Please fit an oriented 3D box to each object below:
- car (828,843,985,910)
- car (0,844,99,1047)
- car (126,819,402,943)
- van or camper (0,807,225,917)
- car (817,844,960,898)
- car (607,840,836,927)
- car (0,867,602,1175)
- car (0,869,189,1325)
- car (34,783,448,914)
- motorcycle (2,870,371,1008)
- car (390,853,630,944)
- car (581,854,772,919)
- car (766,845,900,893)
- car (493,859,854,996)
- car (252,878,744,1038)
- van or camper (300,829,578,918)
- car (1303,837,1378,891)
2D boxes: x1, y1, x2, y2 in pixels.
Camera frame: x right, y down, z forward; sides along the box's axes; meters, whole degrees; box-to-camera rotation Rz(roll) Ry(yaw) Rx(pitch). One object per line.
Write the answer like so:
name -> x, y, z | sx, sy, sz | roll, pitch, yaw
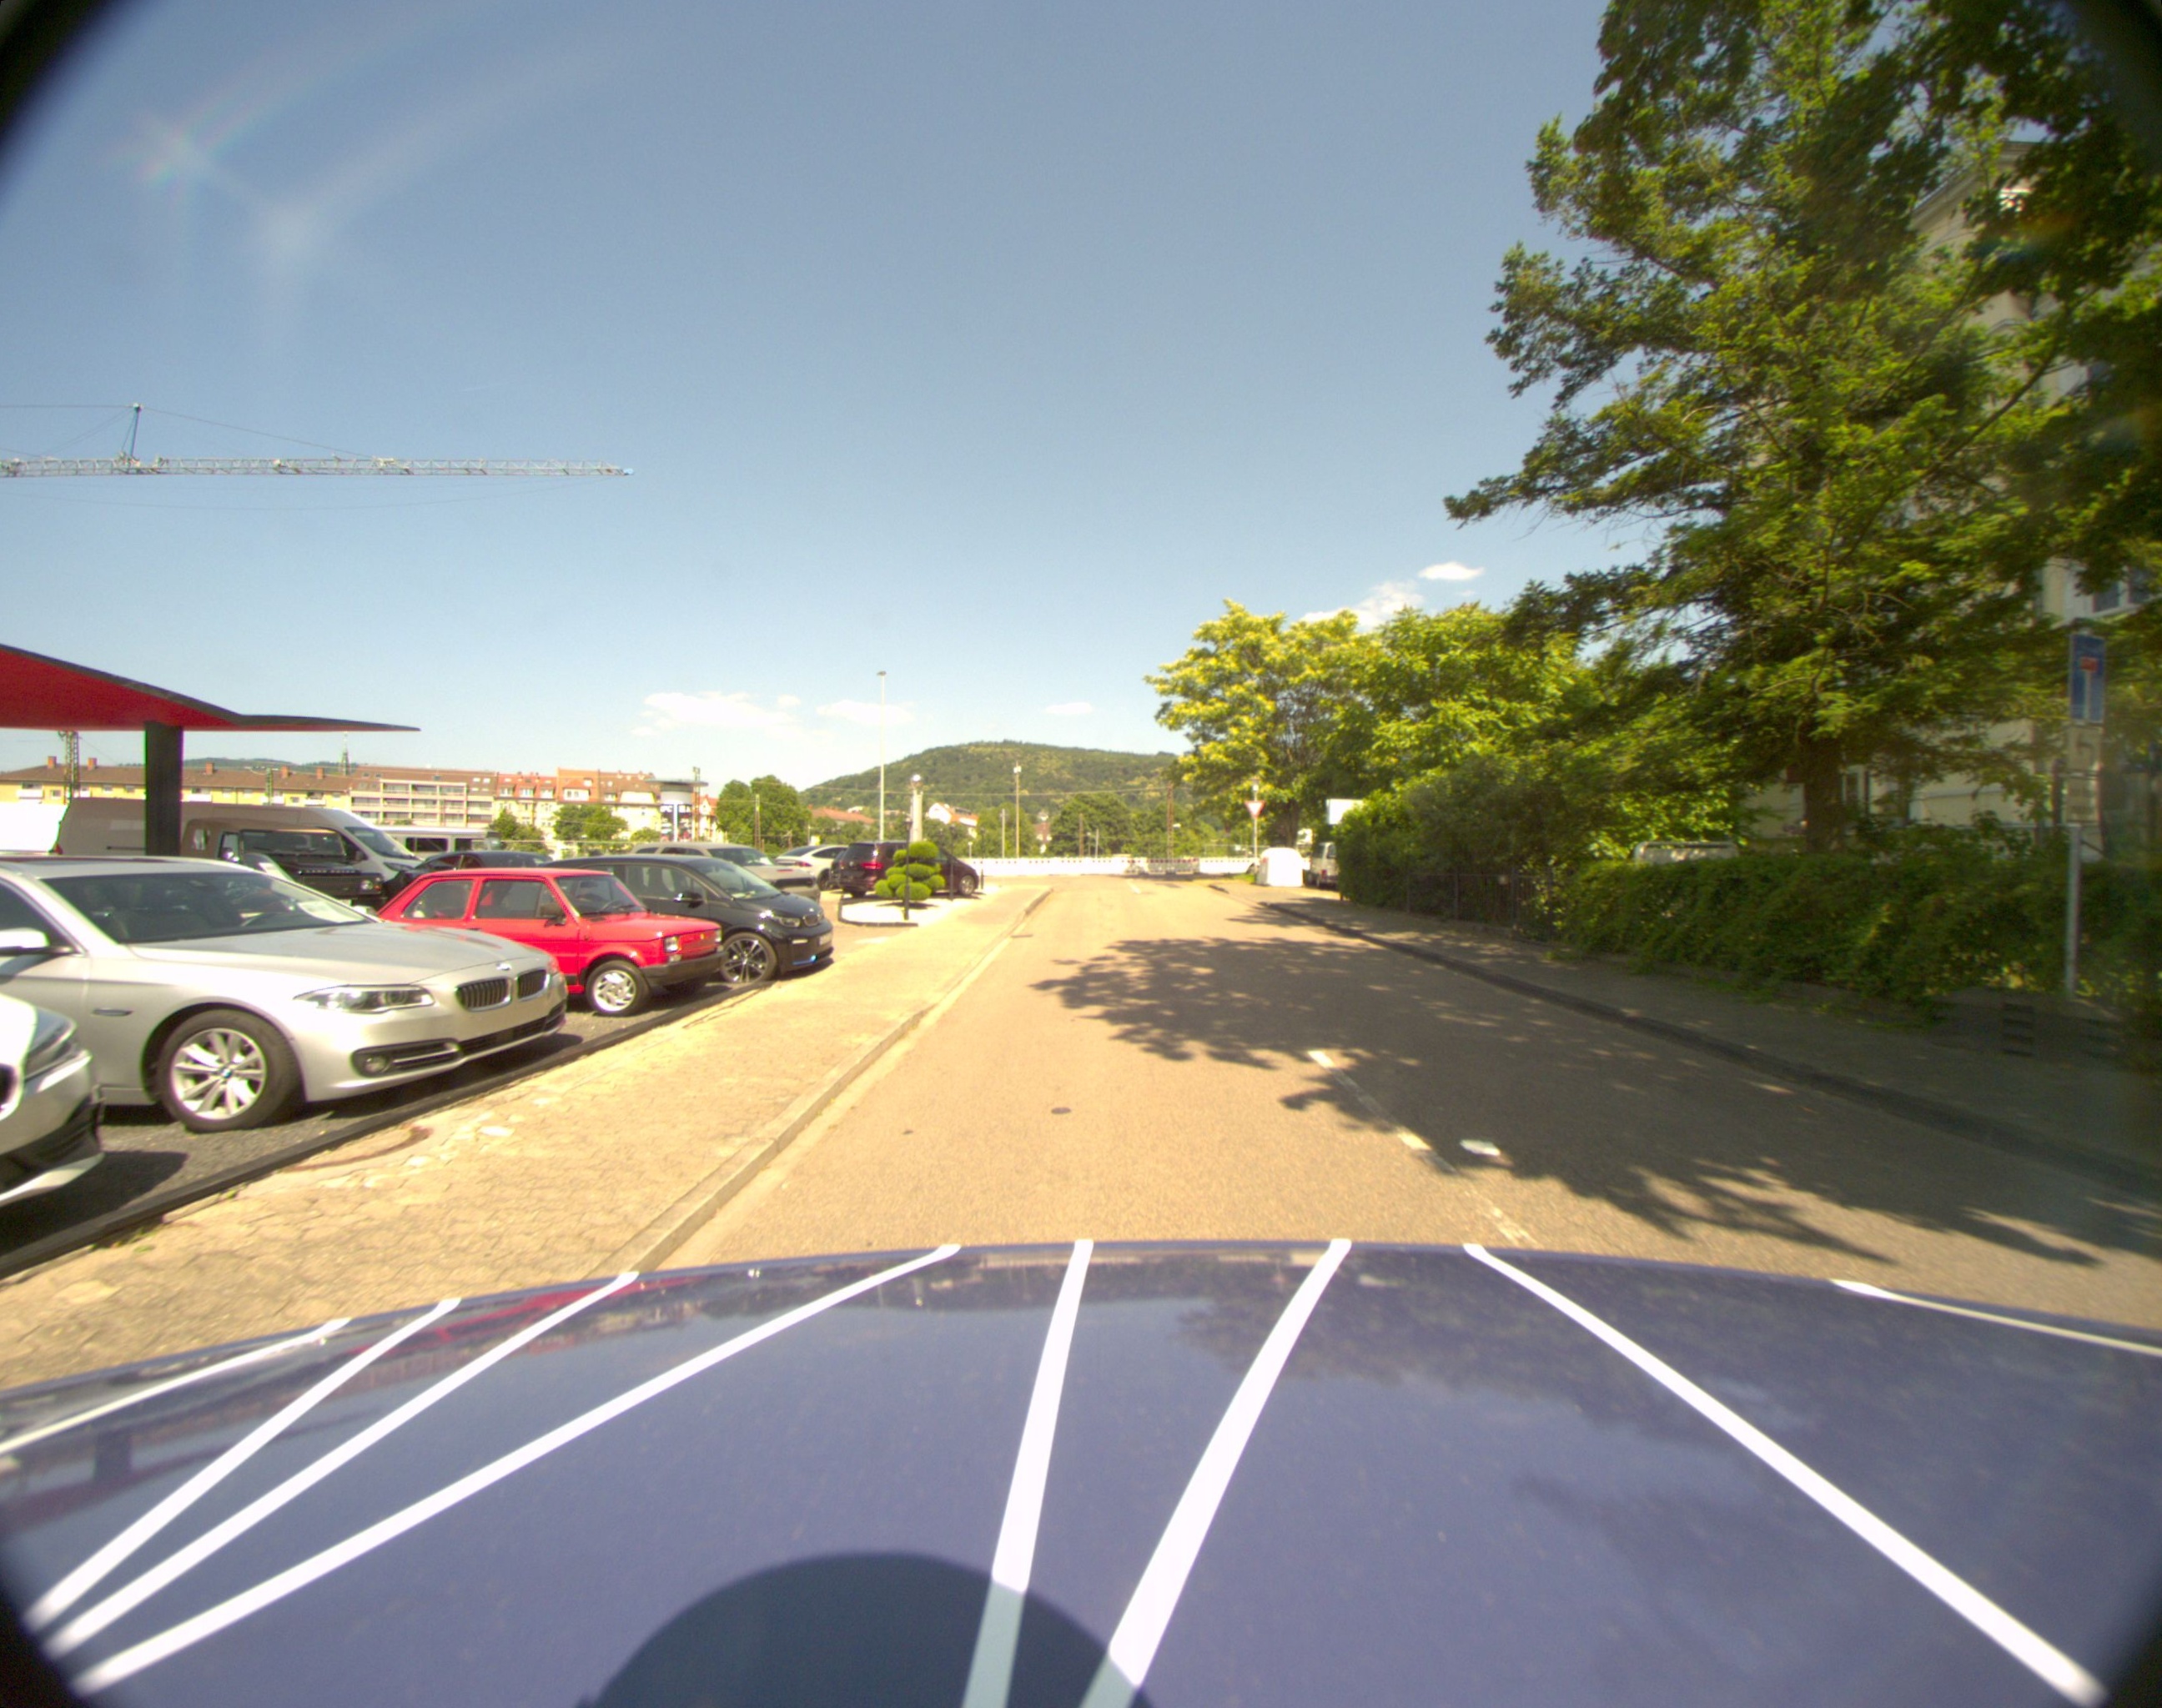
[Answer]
car -> -5.012, 0.560, 22.339 | 1.847, 1.772, 4.299 | 1, 1, 37
car -> -10.140, 0.781, 5.055 | 1.998, 1.718, 4.000 | 0, 0, 0
car -> -15.844, 0.442, 14.760 | 4.566, 2.138, 1.928 | 1, 0, 19
van or camper -> -24.063, 0.180, 17.776 | 4.943, 2.422, 1.995 | 0, 1, -29
car -> -6.811, 0.541, 27.420 | 2.011, 1.769, 4.827 | 0, 1, 36
car -> -8.173, 0.587, 17.212 | 4.984, 1.752, 1.929 | 0, 0, 25
car -> -5.783, 0.846, 4.710 | 4.414, 1.488, 1.897 | 0, 0, 0
car -> -5.868, 0.785, 2.132 | 4.414, 1.519, 1.896 | 2, 1, -1
car -> -18.871, -0.088, 17.603 | 6.025, 2.663, 2.255 | 0, 1, -22
motorcycle -> -10.029, 0.910, 8.669 | 2.691, 1.425, 1.010 | 0, 1, -9
car -> -11.884, 0.826, 15.821 | 4.566, 1.626, 1.928 | 1, 1, 23
car -> -10.812, 0.794, 20.455 | 4.216, 1.525, 1.920 | -1, 1, -40
car -> -9.295, 0.499, 28.950 | 2.012, 1.682, 4.826 | 0, 1, 28
car -> -5.183, 0.897, 10.059 | 3.812, 1.614, 1.759 | 0, 1, 0
car -> -5.406, 0.932, 7.379 | 3.558, 1.327, 1.558 | 0, 1, 0
van or camper -> -17.579, 0.451, 21.242 | 5.512, 2.248, 2.108 | -1, 1, -22
car -> 10.426, 0.317, 30.924 | 1.997, 1.920, 5.103 | 2, 2, 9
